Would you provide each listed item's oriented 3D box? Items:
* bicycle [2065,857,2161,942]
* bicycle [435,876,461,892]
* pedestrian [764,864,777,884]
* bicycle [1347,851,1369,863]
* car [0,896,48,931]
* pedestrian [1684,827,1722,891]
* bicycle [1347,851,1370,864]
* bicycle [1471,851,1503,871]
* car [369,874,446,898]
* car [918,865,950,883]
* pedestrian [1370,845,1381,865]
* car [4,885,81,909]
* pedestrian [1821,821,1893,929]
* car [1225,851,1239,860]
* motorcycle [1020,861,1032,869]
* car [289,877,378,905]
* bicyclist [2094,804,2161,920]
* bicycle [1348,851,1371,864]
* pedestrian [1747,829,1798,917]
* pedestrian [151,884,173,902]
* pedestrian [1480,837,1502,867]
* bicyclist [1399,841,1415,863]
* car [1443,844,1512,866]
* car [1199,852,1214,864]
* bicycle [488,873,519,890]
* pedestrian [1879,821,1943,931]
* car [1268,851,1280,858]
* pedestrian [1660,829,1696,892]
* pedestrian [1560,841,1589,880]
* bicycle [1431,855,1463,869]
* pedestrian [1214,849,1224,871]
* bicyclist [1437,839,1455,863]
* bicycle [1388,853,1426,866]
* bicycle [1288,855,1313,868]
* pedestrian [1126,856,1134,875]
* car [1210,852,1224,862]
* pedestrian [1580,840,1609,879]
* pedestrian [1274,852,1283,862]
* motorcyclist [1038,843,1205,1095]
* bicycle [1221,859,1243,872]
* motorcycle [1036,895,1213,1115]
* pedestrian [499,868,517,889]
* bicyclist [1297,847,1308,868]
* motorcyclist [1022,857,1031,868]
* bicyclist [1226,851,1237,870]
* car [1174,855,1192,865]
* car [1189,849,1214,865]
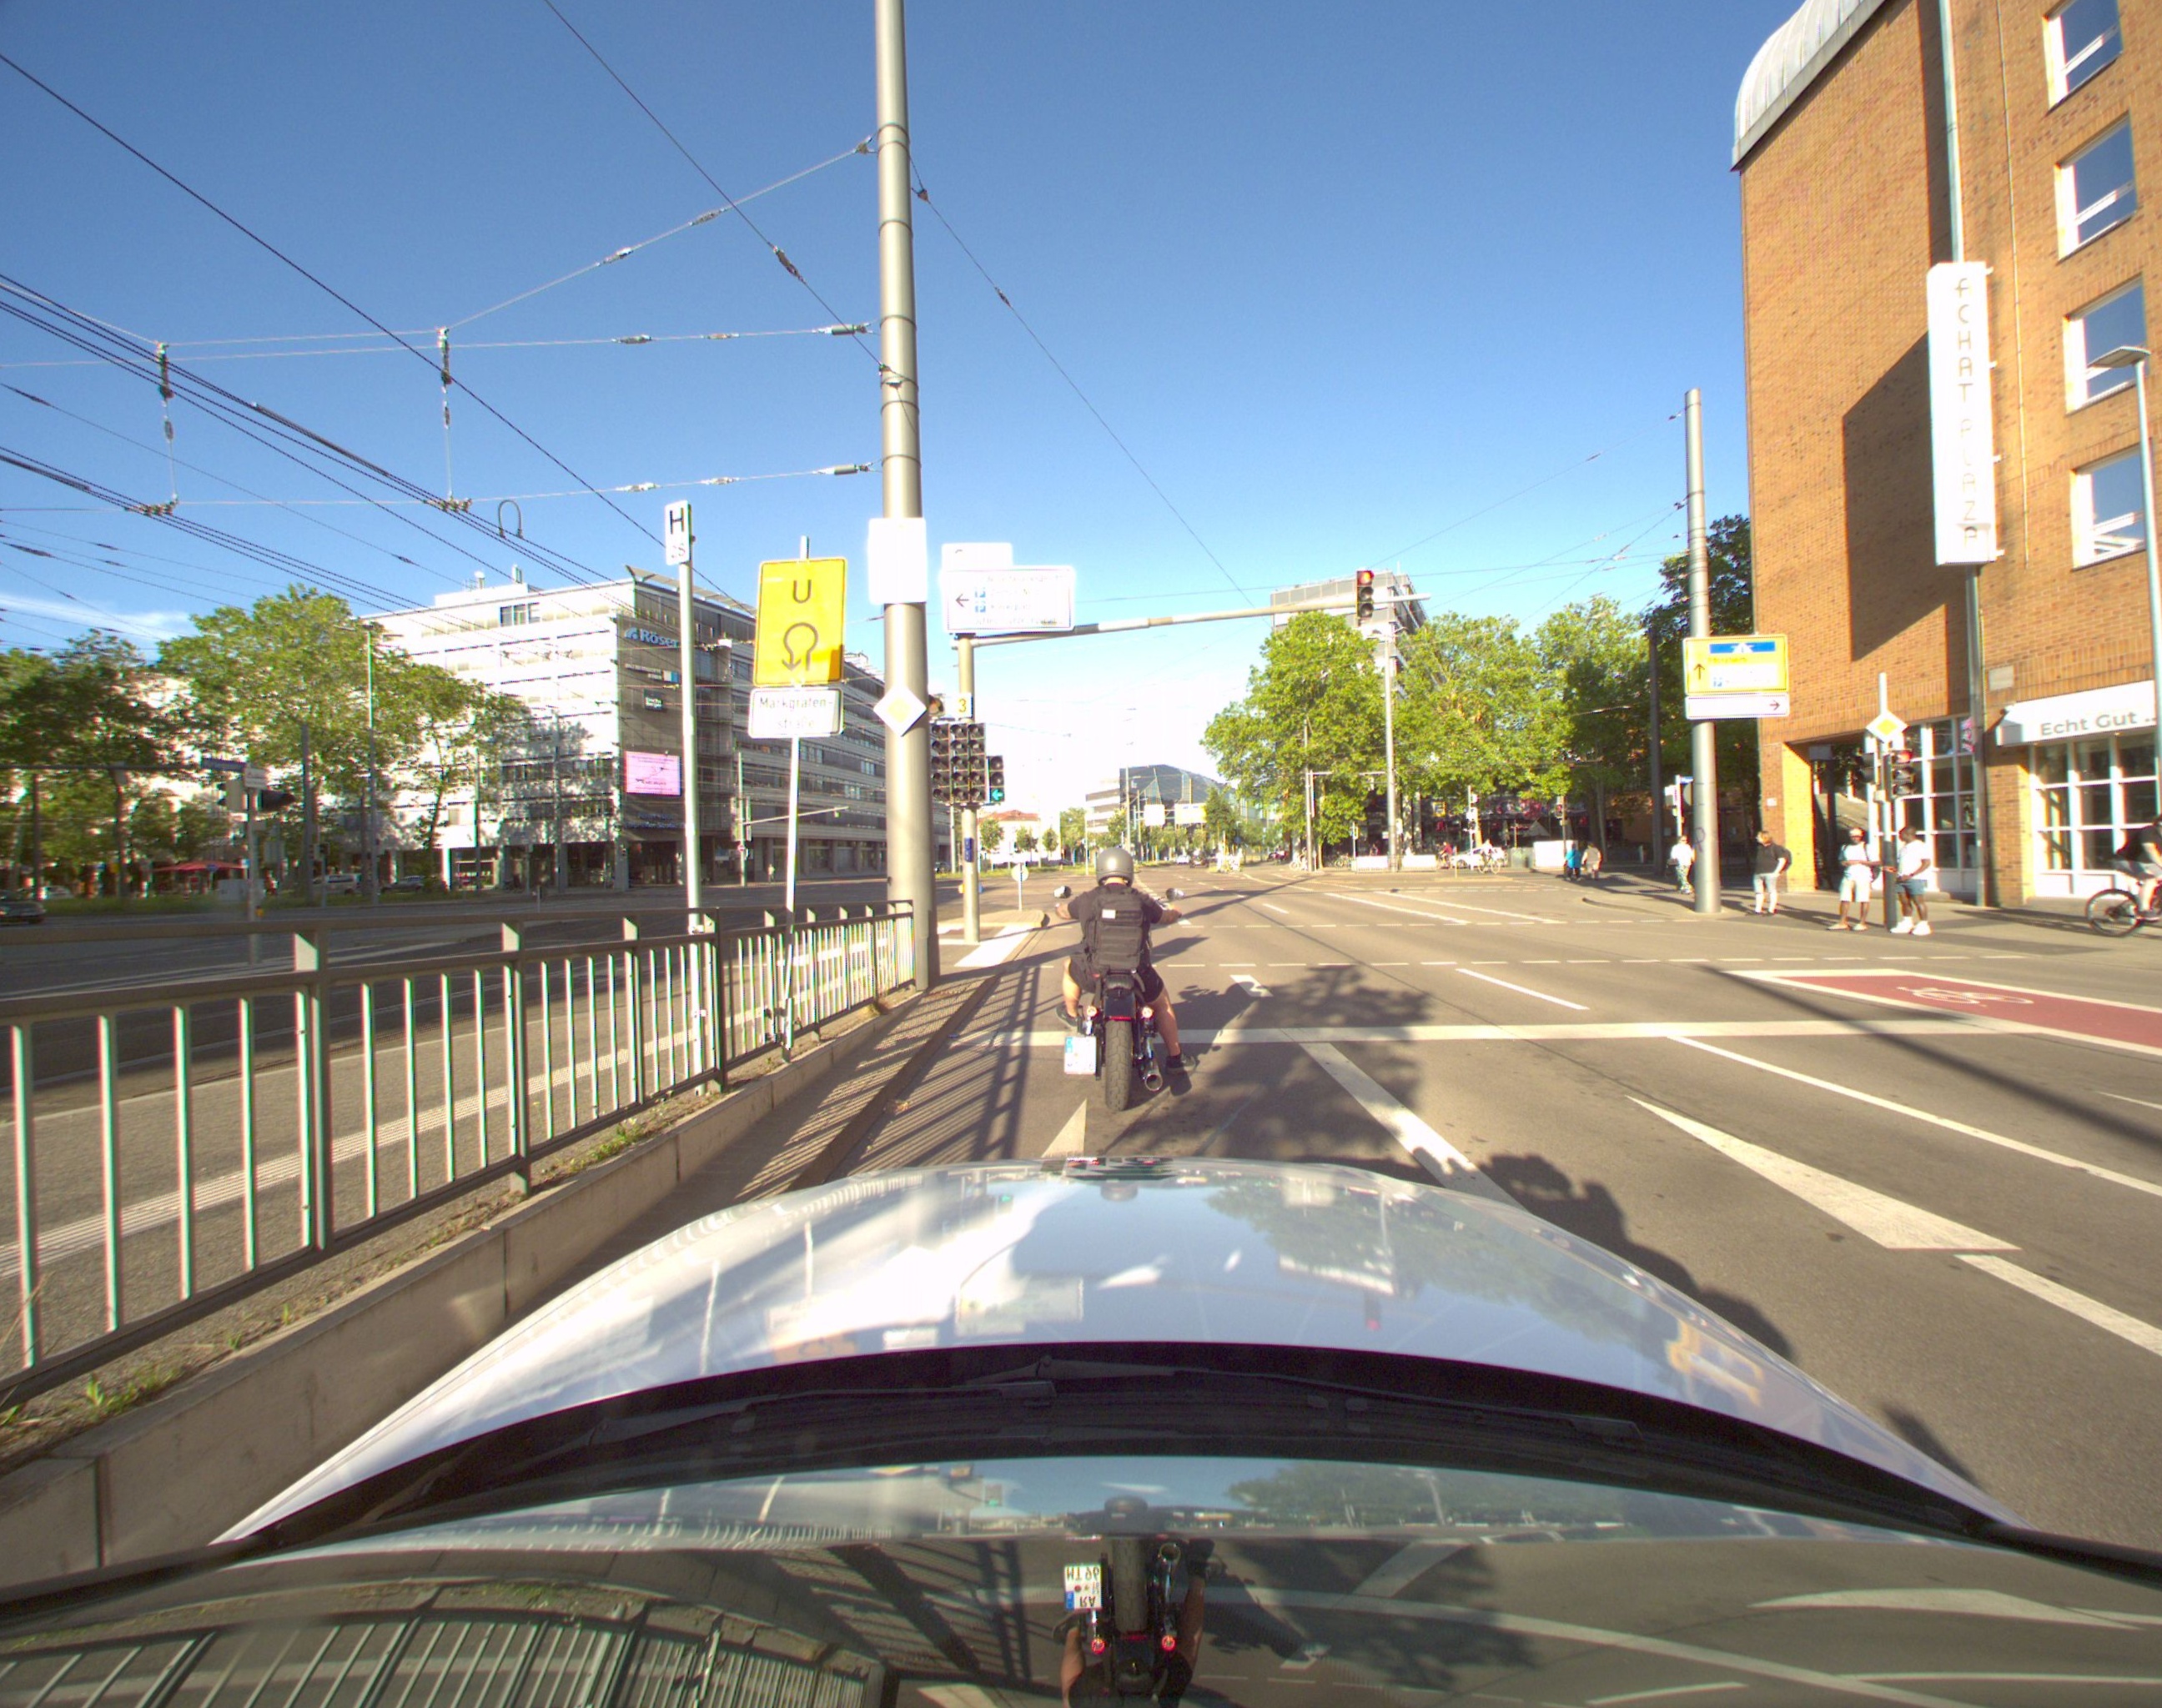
[{"bbox_3d":[14.932,0.619,11.293,0.596,1.050,1.890,-6,0,16],"label":"bicycle"},{"bbox_3d":[-51.179,2.391,65.843,0.466,1.151,1.843,-1,1,9],"label":"bicycle"},{"bbox_3d":[-28.584,1.806,74.929,0.670,1.823,0.889,-3,-1,14],"label":"pedestrian"},{"bbox_3d":[22.762,0.250,66.905,1.692,0.986,0.392,-2,0,15],"label":"bicycle"},{"bbox_3d":[-45.369,2.448,33.477,3.599,1.328,1.655,0,-1,-1],"label":"car"},{"bbox_3d":[16.979,0.137,22.240,0.598,1.727,0.604,-1,-1,12],"label":"pedestrian"},{"bbox_3d":[22.509,0.286,66.000,1.692,0.986,0.392,-2,0,15],"label":"bicycle"},{"bbox_3d":[21.774,0.354,43.723,0.786,1.052,1.924,0,-1,2],"label":"bicycle"},{"bbox_3d":[-50.847,2.396,61.504,4.378,1.572,1.869,-2,2,6],"label":"car"},{"bbox_3d":[-14.159,1.904,78.536,1.782,1.465,4.319,-2,0,6],"label":"car"},{"bbox_3d":[27.000,0.067,74.711,0.840,1.852,0.813,1,0,16],"label":"pedestrian"},{"bbox_3d":[-79.751,3.257,62.565,3.835,1.638,1.869,-2,0,6],"label":"car"},{"bbox_3d":[13.563,0.361,14.243,0.500,1.833,0.725,-3,-1,-33],"label":"pedestrian"},{"bbox_3d":[29.548,0.295,158.991,1.705,1.484,3.776,-2,0,24],"label":"car"},{"bbox_3d":[-8.928,1.785,132.635,0.976,1.232,2.953,-2,0,13],"label":"motorcycle"},{"bbox_3d":[-56.226,2.753,61.274,4.888,1.843,1.930,-2,2,3],"label":"car"},{"bbox_3d":[14.882,0.093,11.298,0.574,1.515,0.854,-6,0,16],"label":"bicyclist"},{"bbox_3d":[22.314,0.249,65.159,1.692,0.986,0.392,-2,0,15],"label":"bicycle"},{"bbox_3d":[14.293,0.372,16.836,0.577,1.767,0.687,-1,0,-39],"label":"pedestrian"},{"bbox_3d":[-81.913,3.488,72.597,0.985,1.546,0.875,-2,-1,9],"label":"pedestrian"},{"bbox_3d":[21.938,-0.111,43.572,0.767,1.594,0.838,0,-1,1],"label":"pedestrian"},{"bbox_3d":[28.974,-0.176,72.320,1.217,1.931,0.839,-2,0,16],"label":"bicyclist"},{"bbox_3d":[28.163,0.062,57.887,3.967,1.486,2.003,0,-1,6],"label":"car"},{"bbox_3d":[21.727,0.674,141.021,1.804,1.818,3.964,-2,0,20],"label":"car"},{"bbox_3d":[-43.661,2.086,61.586,1.834,1.163,0.613,-1,3,3],"label":"bicycle"},{"bbox_3d":[13.770,0.363,13.522,0.401,1.774,0.581,-3,-1,10],"label":"pedestrian"},{"bbox_3d":[41.034,0.084,173.066,1.826,1.464,4.021,-1,-1,21],"label":"car"},{"bbox_3d":[16.417,0.191,22.395,0.557,1.704,0.661,-1,-1,13],"label":"pedestrian"},{"bbox_3d":[19.821,0.249,32.688,0.674,1.540,0.741,0,-1,-6],"label":"pedestrian"},{"bbox_3d":[25.234,0.561,56.178,1.844,0.910,0.653,-2,0,6],"label":"bicycle"},{"bbox_3d":[11.750,0.485,69.401,0.693,1.837,0.518,-1,-1,37],"label":"pedestrian"},{"bbox_3d":[25.183,-0.215,56.152,0.921,1.615,0.638,-2,0,5],"label":"bicyclist"},{"bbox_3d":[28.899,0.482,72.302,3.018,1.113,0.839,-1,0,16],"label":"bicycle"},{"bbox_3d":[17.491,0.603,64.880,1.840,1.021,0.518,-2,-1,13],"label":"bicycle"},{"bbox_3d":[4.142,0.966,69.078,0.654,1.582,0.490,-1,0,5],"label":"pedestrian"},{"bbox_3d":[24.760,0.517,148.472,1.705,1.657,3.774,-2,0,22],"label":"car"},{"bbox_3d":[20.623,0.225,32.711,0.649,1.540,0.741,0,-1,-6],"label":"pedestrian"},{"bbox_3d":[21.948,0.307,90.313,0.777,1.057,0.819,-2,0,24],"label":"pedestrian"},{"bbox_3d":[0.269,0.709,5.674,1.018,1.552,1.287,0,0,1],"label":"motorcyclist"},{"bbox_3d":[12.401,0.923,66.968,1.612,1.021,0.519,-2,-1,25],"label":"bicycle"},{"bbox_3d":[0.285,0.921,5.802,1.002,1.125,2.324,0,0,2],"label":"motorcycle"},{"bbox_3d":[-43.614,1.865,62.001,0.831,1.610,0.607,0,2,5],"label":"pedestrian"},{"bbox_3d":[17.644,0.269,64.807,0.737,1.694,0.572,-2,-1,13],"label":"bicyclist"},{"bbox_3d":[-8.918,1.369,132.703,1.012,1.731,1.466,-2,-1,13],"label":"motorcyclist"},{"bbox_3d":[12.393,0.514,66.972,0.736,1.503,0.573,-2,-1,25],"label":"bicyclist"},{"bbox_3d":[15.662,0.926,124.668,1.886,1.508,4.019,-1,-1,19],"label":"car"},{"bbox_3d":[13.964,0.362,94.385,2.036,1.874,4.247,-1,-1,20],"label":"car"}]
